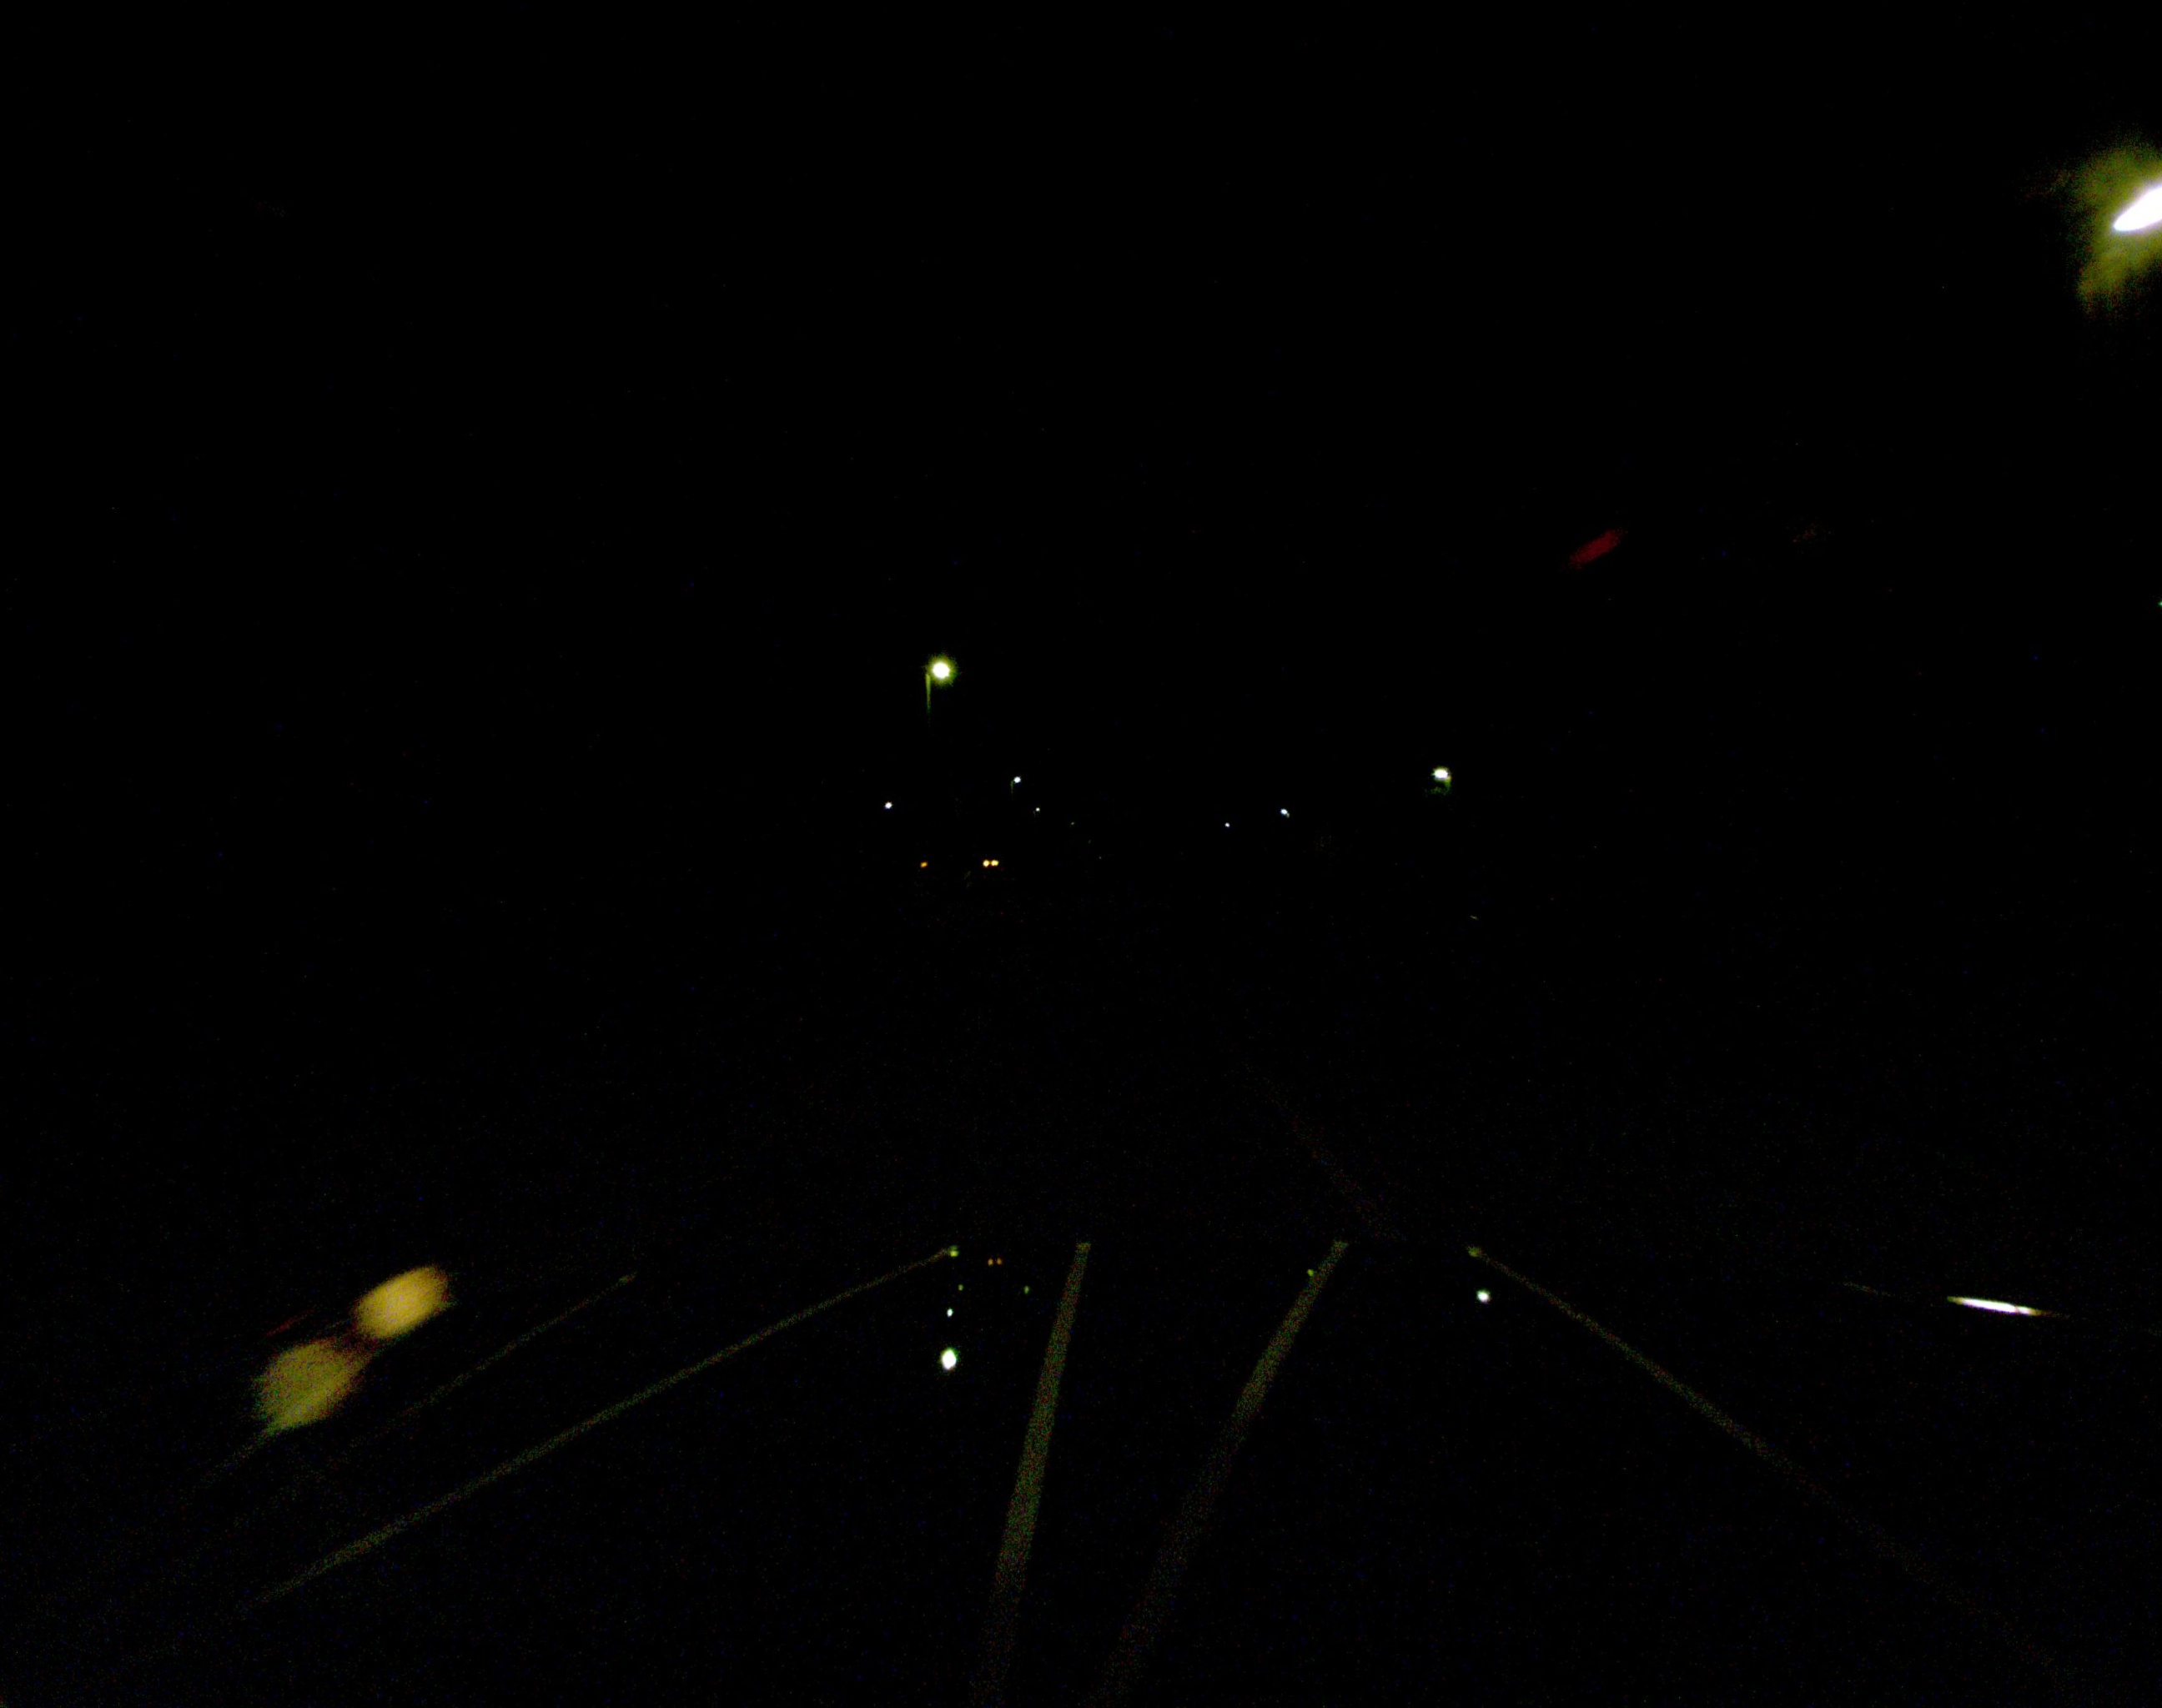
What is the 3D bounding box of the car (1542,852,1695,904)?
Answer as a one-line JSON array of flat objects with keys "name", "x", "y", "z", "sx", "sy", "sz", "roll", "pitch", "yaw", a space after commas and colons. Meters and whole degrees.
[{"name": "car", "x": 16.778, "y": 0.706, "z": 23.997, "sx": 1.870, "sy": 1.496, "sz": 4.094, "roll": 0, "pitch": 0, "yaw": -2}]
